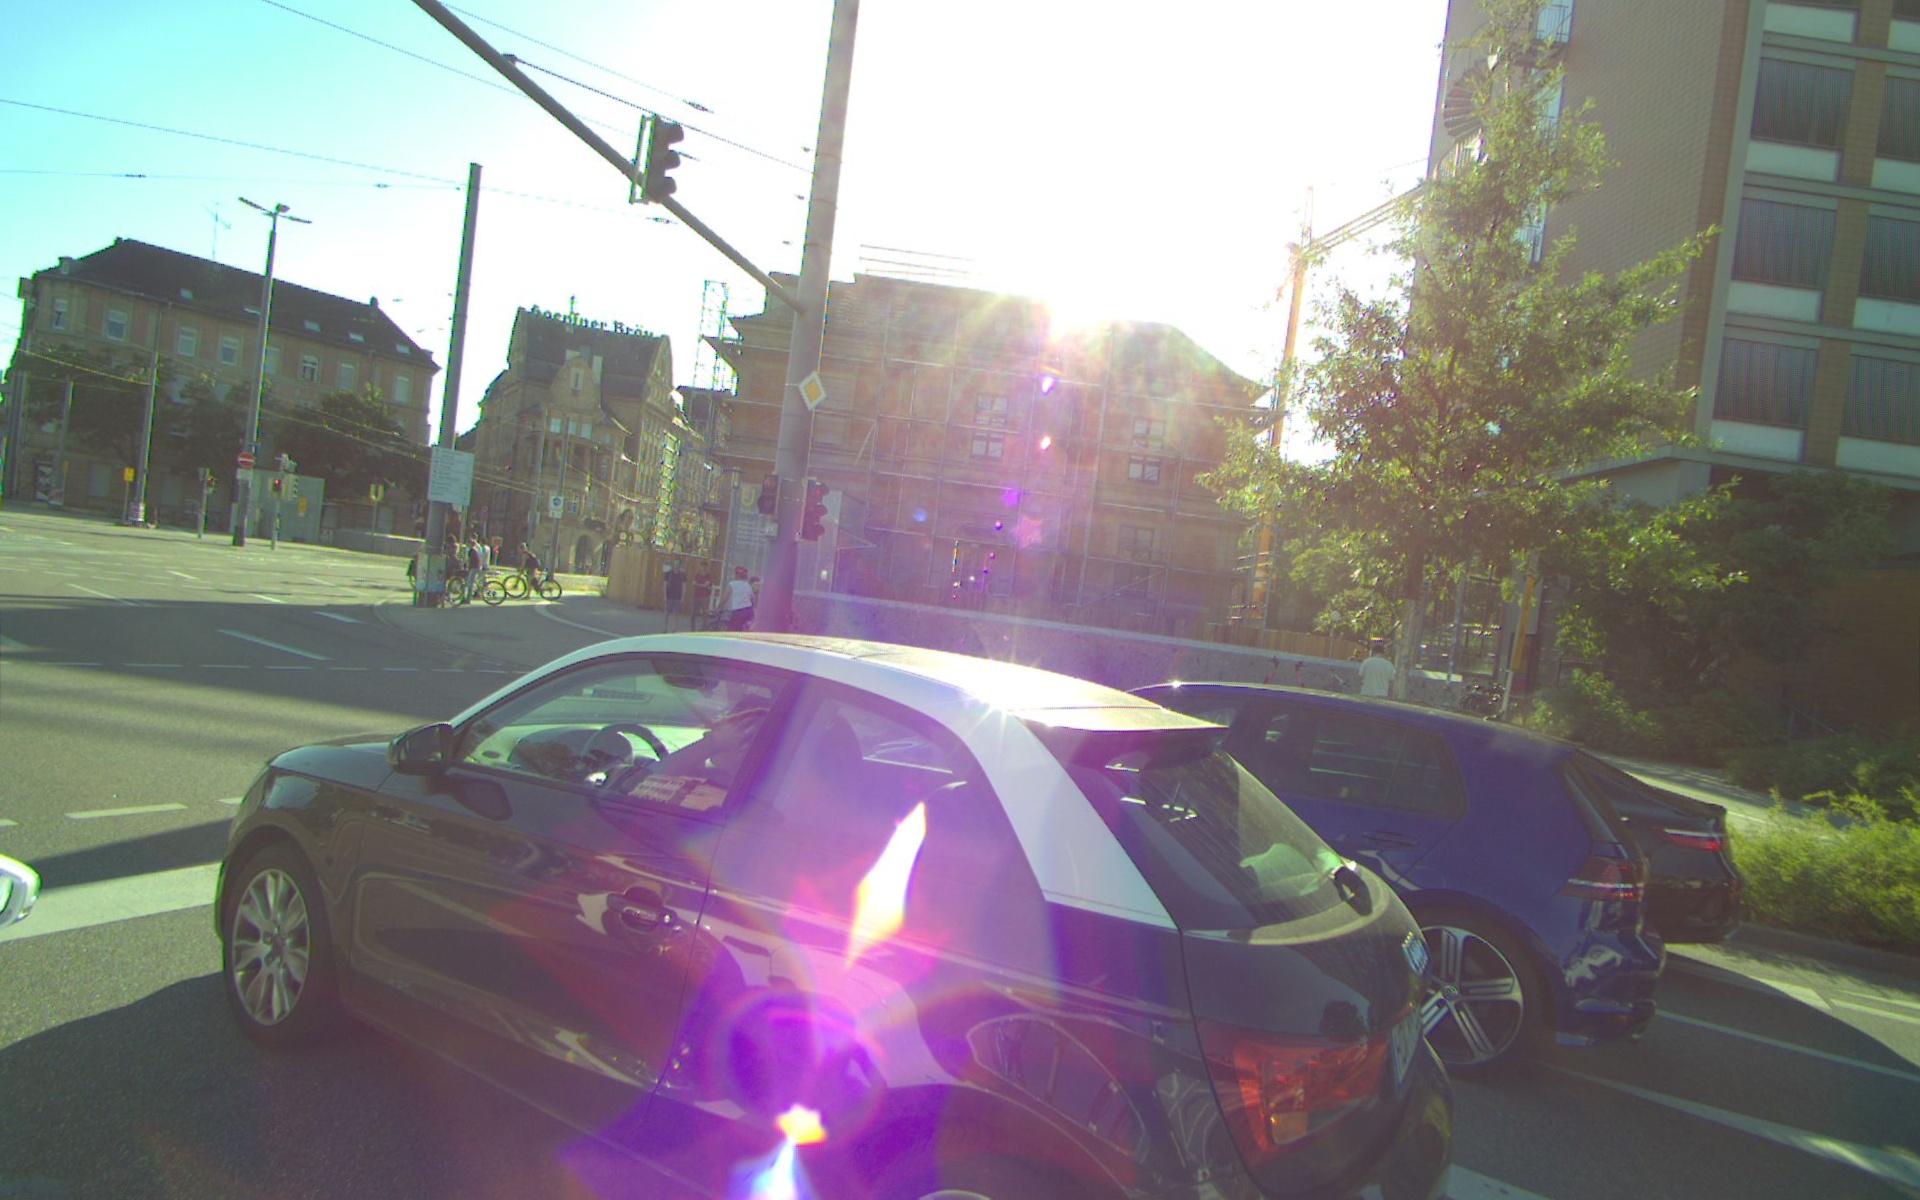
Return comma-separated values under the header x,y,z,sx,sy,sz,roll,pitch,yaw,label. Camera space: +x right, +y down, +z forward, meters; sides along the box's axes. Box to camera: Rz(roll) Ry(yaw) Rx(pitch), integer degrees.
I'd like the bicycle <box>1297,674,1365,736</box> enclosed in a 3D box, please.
x,y,z,sx,sy,sz,roll,pitch,yaw,label
6.962,1.962,18.924,0.352,1.015,1.149,8,-2,-29,bicycle

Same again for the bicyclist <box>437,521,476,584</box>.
x,y,z,sx,sy,sz,roll,pitch,yaw,label
-12.665,-1.187,25.300,0.702,1.456,0.940,8,-1,-29,bicyclist

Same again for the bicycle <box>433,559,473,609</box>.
x,y,z,sx,sy,sz,roll,pitch,yaw,label
-12.721,-0.420,25.203,0.693,1.061,2.303,9,-1,-29,bicycle

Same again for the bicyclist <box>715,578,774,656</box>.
x,y,z,sx,sy,sz,roll,pitch,yaw,label
-3.925,0.314,18.361,0.662,1.330,0.617,7,-1,27,bicyclist

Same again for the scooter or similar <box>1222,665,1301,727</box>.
x,y,z,sx,sy,sz,roll,pitch,yaw,label
5.833,1.846,19.522,1.346,1.007,0.343,7,-1,13,scooter or similar

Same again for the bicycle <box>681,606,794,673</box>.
x,y,z,sx,sy,sz,roll,pitch,yaw,label
-4.087,0.707,18.434,1.999,0.976,0.659,6,2,27,bicycle

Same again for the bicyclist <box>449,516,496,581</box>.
x,y,z,sx,sy,sz,roll,pitch,yaw,label
-12.951,-1.347,26.712,0.936,1.575,0.705,8,-1,-28,bicyclist

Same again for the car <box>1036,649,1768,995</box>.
x,y,z,sx,sy,sz,roll,pitch,yaw,label
2.998,1.385,7.531,4.436,1.420,1.727,6,-2,31,car

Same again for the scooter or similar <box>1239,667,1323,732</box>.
x,y,z,sx,sy,sz,roll,pitch,yaw,label
5.938,1.835,18.628,1.348,1.007,0.342,7,-1,25,scooter or similar

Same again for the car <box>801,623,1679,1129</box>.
x,y,z,sx,sy,sz,roll,pitch,yaw,label
1.259,1.096,5.355,3.934,1.420,1.627,6,-2,32,car

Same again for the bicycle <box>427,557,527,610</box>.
x,y,z,sx,sy,sz,roll,pitch,yaw,label
-12.858,-0.427,26.815,2.294,1.061,0.696,9,-2,-28,bicycle

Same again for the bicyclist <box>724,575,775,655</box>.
x,y,z,sx,sy,sz,roll,pitch,yaw,label
-4.133,0.297,19.777,0.661,1.471,0.618,7,-1,3,bicyclist

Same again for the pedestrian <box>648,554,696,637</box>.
x,y,z,sx,sy,sz,roll,pitch,yaw,label
-6.667,-0.105,23.313,0.672,1.830,0.672,7,2,11,pedestrian

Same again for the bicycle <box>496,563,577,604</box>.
x,y,z,sx,sy,sz,roll,pitch,yaw,label
-13.319,-0.513,31.687,2.289,1.063,0.532,5,2,-25,bicycle

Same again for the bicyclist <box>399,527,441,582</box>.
x,y,z,sx,sy,sz,roll,pitch,yaw,label
-16.811,-1.406,31.341,0.930,1.575,0.516,7,-1,23,bicyclist

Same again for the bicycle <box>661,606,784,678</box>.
x,y,z,sx,sy,sz,roll,pitch,yaw,label
-4.087,0.715,17.264,1.999,0.974,0.660,6,-1,27,bicycle

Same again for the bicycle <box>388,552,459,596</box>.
x,y,z,sx,sy,sz,roll,pitch,yaw,label
-16.673,-0.812,31.244,2.278,1.061,0.536,8,-1,24,bicycle

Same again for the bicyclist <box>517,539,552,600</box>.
x,y,z,sx,sy,sz,roll,pitch,yaw,label
-13.384,-0.958,31.649,0.785,1.800,0.520,8,-1,-23,bicyclist

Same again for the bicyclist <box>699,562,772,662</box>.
x,y,z,sx,sy,sz,roll,pitch,yaw,label
-3.830,0.212,17.175,0.781,1.571,0.668,7,-1,27,bicyclist

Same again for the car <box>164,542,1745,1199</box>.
x,y,z,sx,sy,sz,roll,pitch,yaw,label
-0.409,0.778,2.912,3.934,1.420,1.627,6,-2,32,car

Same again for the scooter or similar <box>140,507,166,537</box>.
x,y,z,sx,sy,sz,roll,pitch,yaw,label
-42.034,-4.067,52.380,0.784,1.392,1.885,8,-2,-44,scooter or similar

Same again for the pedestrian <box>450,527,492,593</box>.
x,y,z,sx,sy,sz,roll,pitch,yaw,label
-16.341,-1.333,33.647,0.748,2.037,0.733,7,-1,25,pedestrian

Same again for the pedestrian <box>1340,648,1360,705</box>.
x,y,z,sx,sy,sz,roll,pitch,yaw,label
12.365,2.412,31.898,0.369,1.752,0.444,7,-1,17,pedestrian

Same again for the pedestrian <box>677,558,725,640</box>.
x,y,z,sx,sy,sz,roll,pitch,yaw,label
-6.159,-0.011,23.963,0.672,1.828,0.672,7,-1,11,pedestrian

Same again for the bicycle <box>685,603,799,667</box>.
x,y,z,sx,sy,sz,roll,pitch,yaw,label
-4.270,0.670,19.777,1.997,0.976,0.660,7,2,5,bicycle

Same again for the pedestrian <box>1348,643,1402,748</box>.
x,y,z,sx,sy,sz,roll,pitch,yaw,label
6.965,1.579,16.871,0.592,1.662,0.677,7,3,29,pedestrian

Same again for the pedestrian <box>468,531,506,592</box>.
x,y,z,sx,sy,sz,roll,pitch,yaw,label
-16.130,-1.315,34.311,0.678,1.945,0.649,7,-1,25,pedestrian
